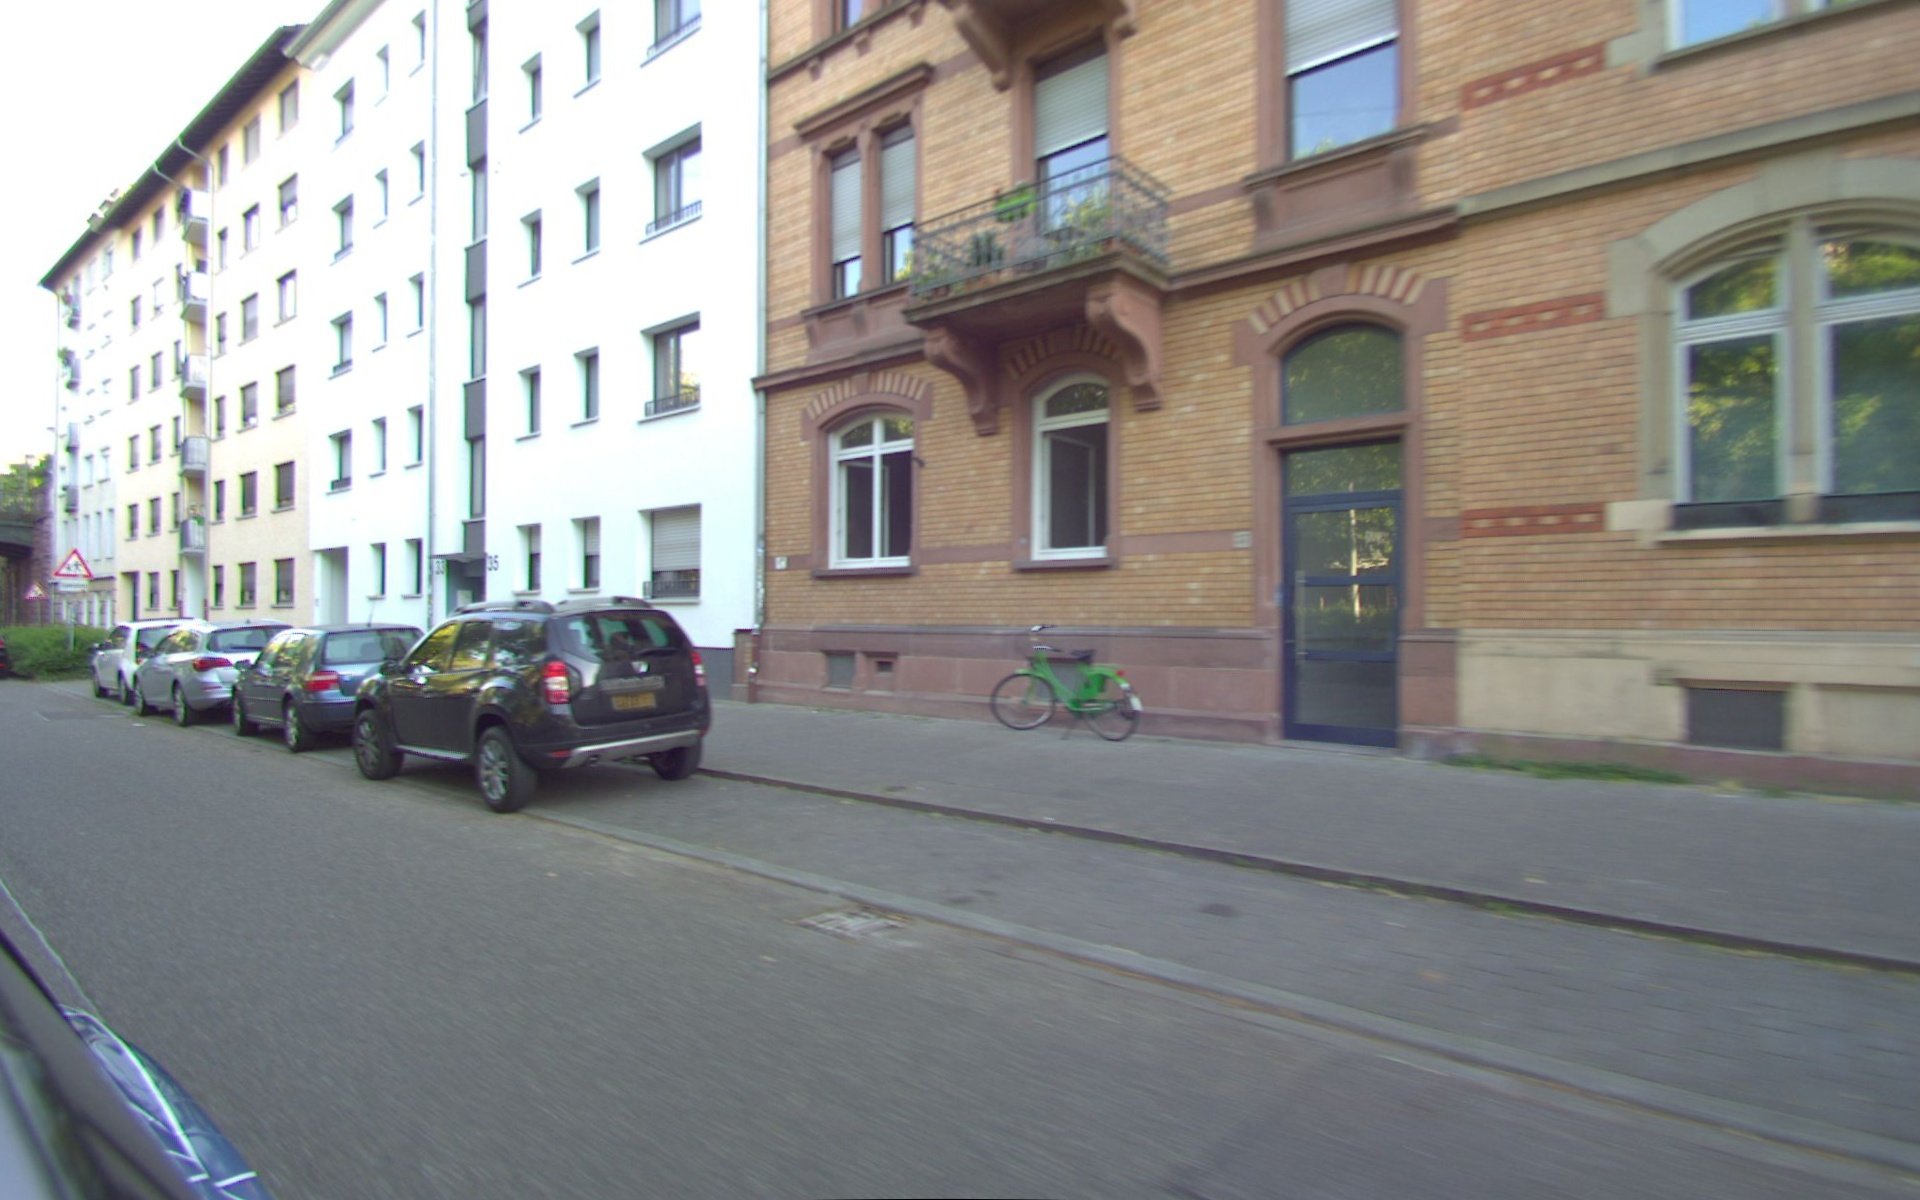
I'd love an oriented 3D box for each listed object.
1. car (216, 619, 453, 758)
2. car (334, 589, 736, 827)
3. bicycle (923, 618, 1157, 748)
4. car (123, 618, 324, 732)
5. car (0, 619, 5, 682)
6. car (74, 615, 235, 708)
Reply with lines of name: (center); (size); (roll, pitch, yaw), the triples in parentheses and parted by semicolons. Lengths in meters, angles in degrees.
car: (-8.141, 1.009, 13.028); (4.000, 1.462, 1.598); (-1, 0, 43)
car: (-4.071, 0.810, 9.365); (4.197, 1.719, 1.734); (-1, -1, 40)
bicycle: (0.780, 0.820, 10.681); (2.513, 1.216, 0.729); (-2, -1, 42)
car: (-11.666, 1.061, 15.920); (4.282, 1.482, 1.651); (-1, 1, 42)
car: (-24.619, 1.189, 24.586); (3.999, 1.490, 1.721); (-1, -3, 42)
car: (-15.449, 1.092, 19.345); (3.997, 1.519, 1.651); (-1, 1, 41)
